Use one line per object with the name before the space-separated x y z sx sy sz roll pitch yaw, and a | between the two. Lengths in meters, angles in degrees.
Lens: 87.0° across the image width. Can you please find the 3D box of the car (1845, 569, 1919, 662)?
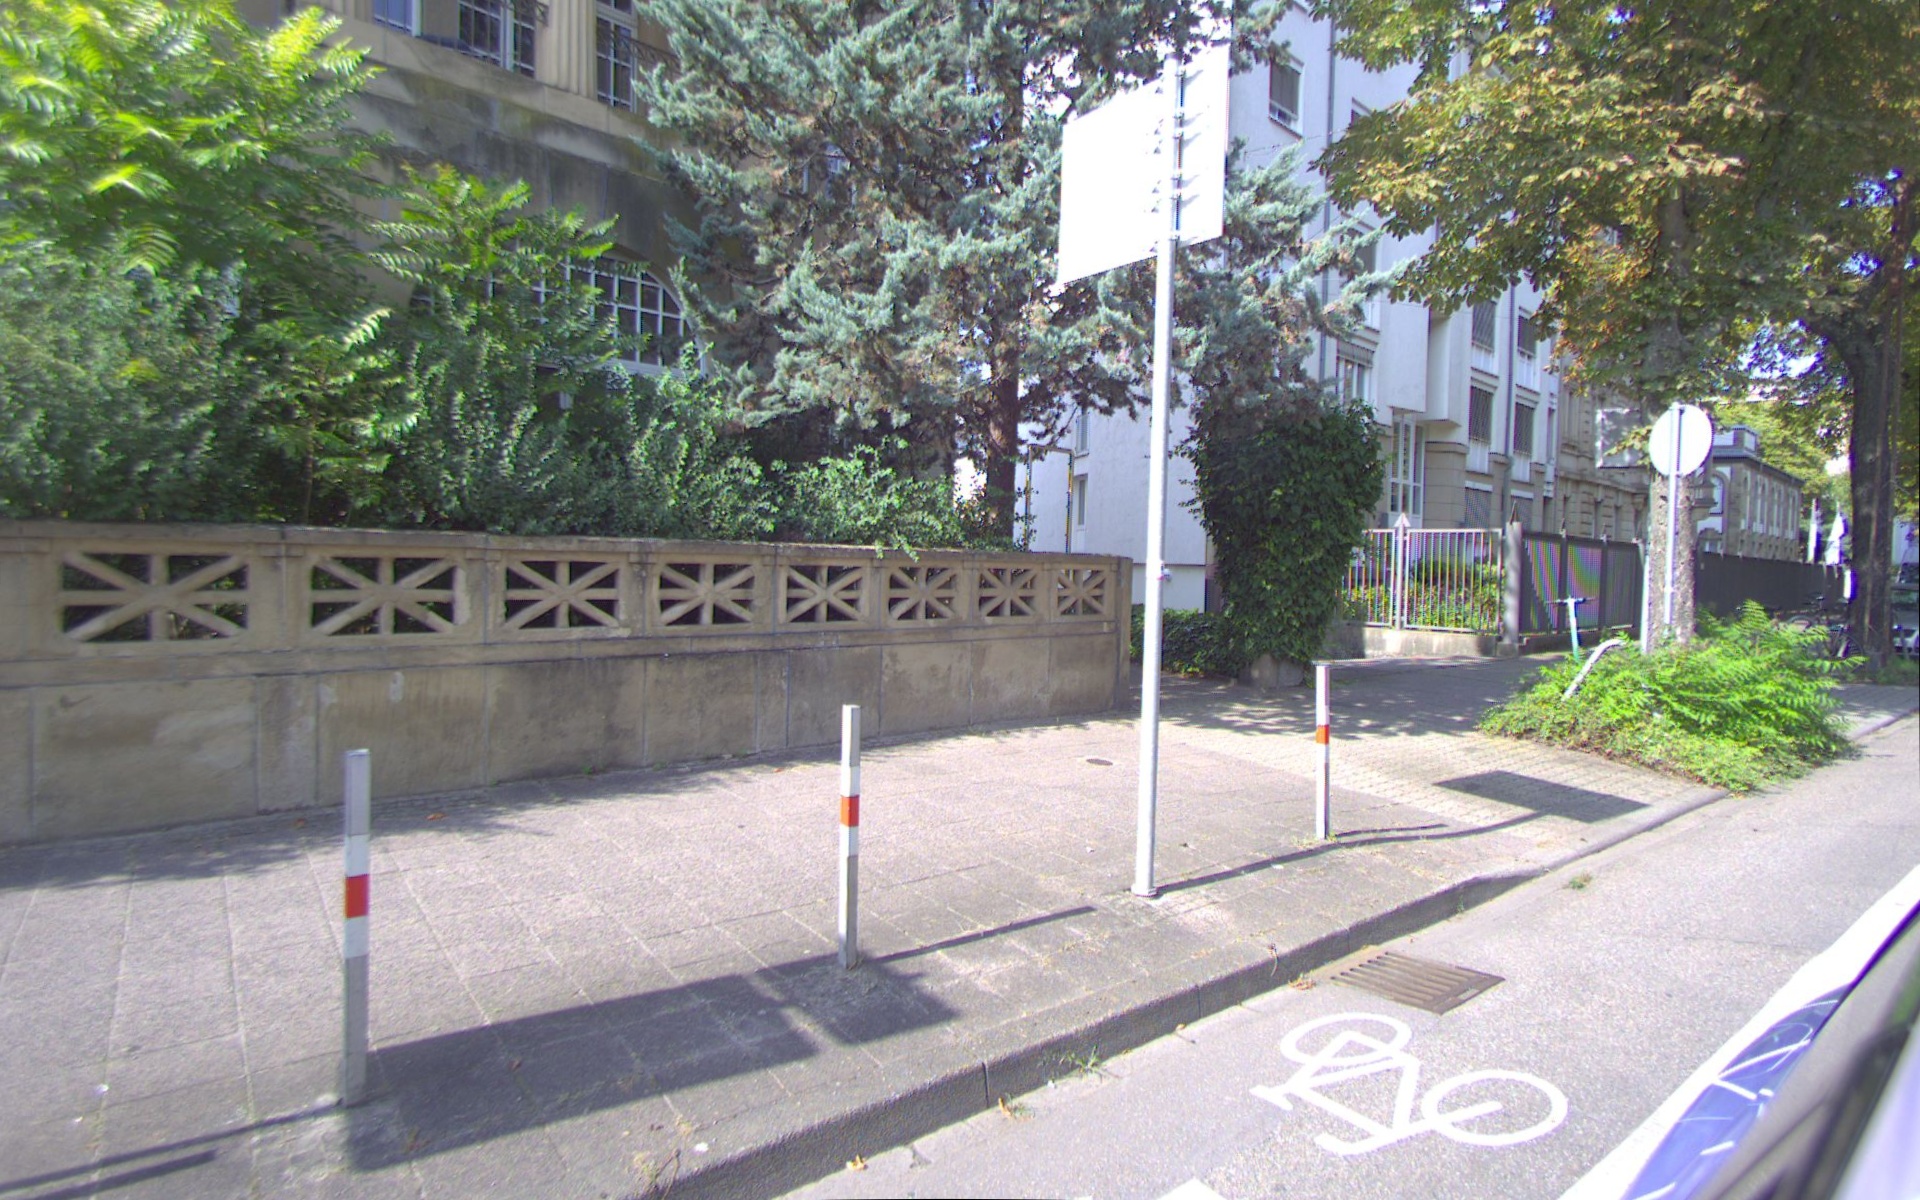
car | 18.201 0.261 19.138 4.283 1.541 1.610 -1 6 -42

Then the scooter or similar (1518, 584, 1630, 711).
scooter or similar | 6.353 0.460 10.474 1.015 1.211 0.560 -1 6 -37

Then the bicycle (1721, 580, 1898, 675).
bicycle | 12.176 0.383 14.551 1.812 1.178 0.504 4 8 9

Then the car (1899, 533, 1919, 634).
car | 26.760 -0.393 26.875 6.122 2.529 2.050 -1 3 -42
